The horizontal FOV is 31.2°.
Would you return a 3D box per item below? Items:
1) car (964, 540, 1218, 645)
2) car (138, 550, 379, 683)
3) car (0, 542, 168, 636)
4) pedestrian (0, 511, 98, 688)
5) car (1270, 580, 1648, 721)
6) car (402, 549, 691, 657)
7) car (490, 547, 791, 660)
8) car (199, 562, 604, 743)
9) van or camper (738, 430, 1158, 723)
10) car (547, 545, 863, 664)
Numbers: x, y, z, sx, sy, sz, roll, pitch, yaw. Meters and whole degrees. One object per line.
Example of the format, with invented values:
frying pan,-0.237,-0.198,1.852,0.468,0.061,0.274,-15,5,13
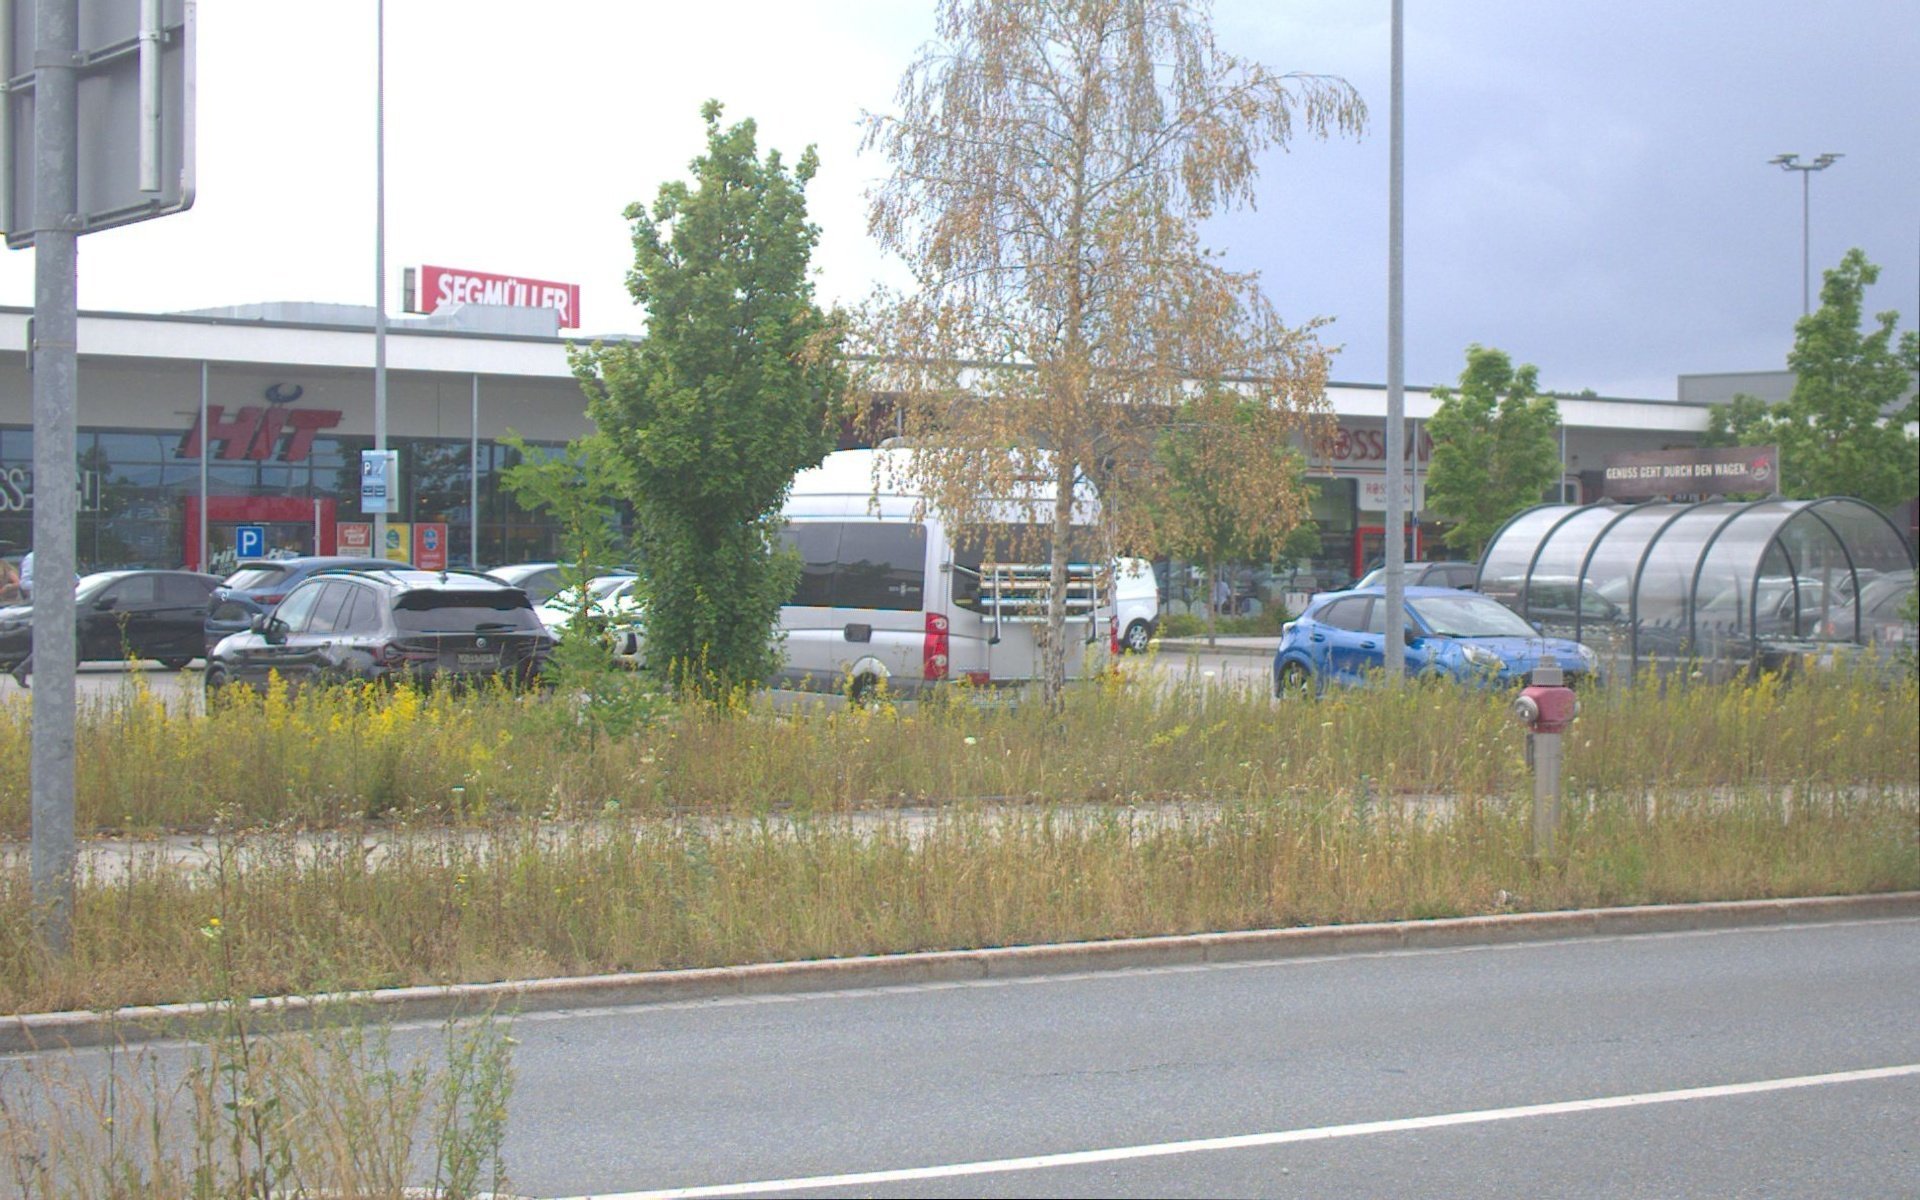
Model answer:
car,2.371,-0.127,61.484,4.416,1.813,1.999,0,0,-43
car,-9.184,0.171,44.811,1.814,1.647,4.000,0,1,-32
car,-15.285,-0.201,56.378,3.988,1.503,1.999,0,1,-39
pedestrian,-10.611,-0.013,39.801,1.000,2.007,0.867,0,1,-32
car,5.107,0.488,35.722,1.804,1.380,4.150,0,0,-27
car,-6.405,0.018,53.374,3.987,1.612,2.000,0,1,-32
car,-4.746,0.028,51.135,3.987,1.612,2.000,0,1,-32
car,-4.911,0.417,29.787,1.988,1.446,4.150,0,0,-32
van or camper,-0.186,-0.198,31.459,2.282,2.484,4.001,0,0,-27
car,-3.606,0.035,48.727,3.987,1.612,2.000,0,1,-32
